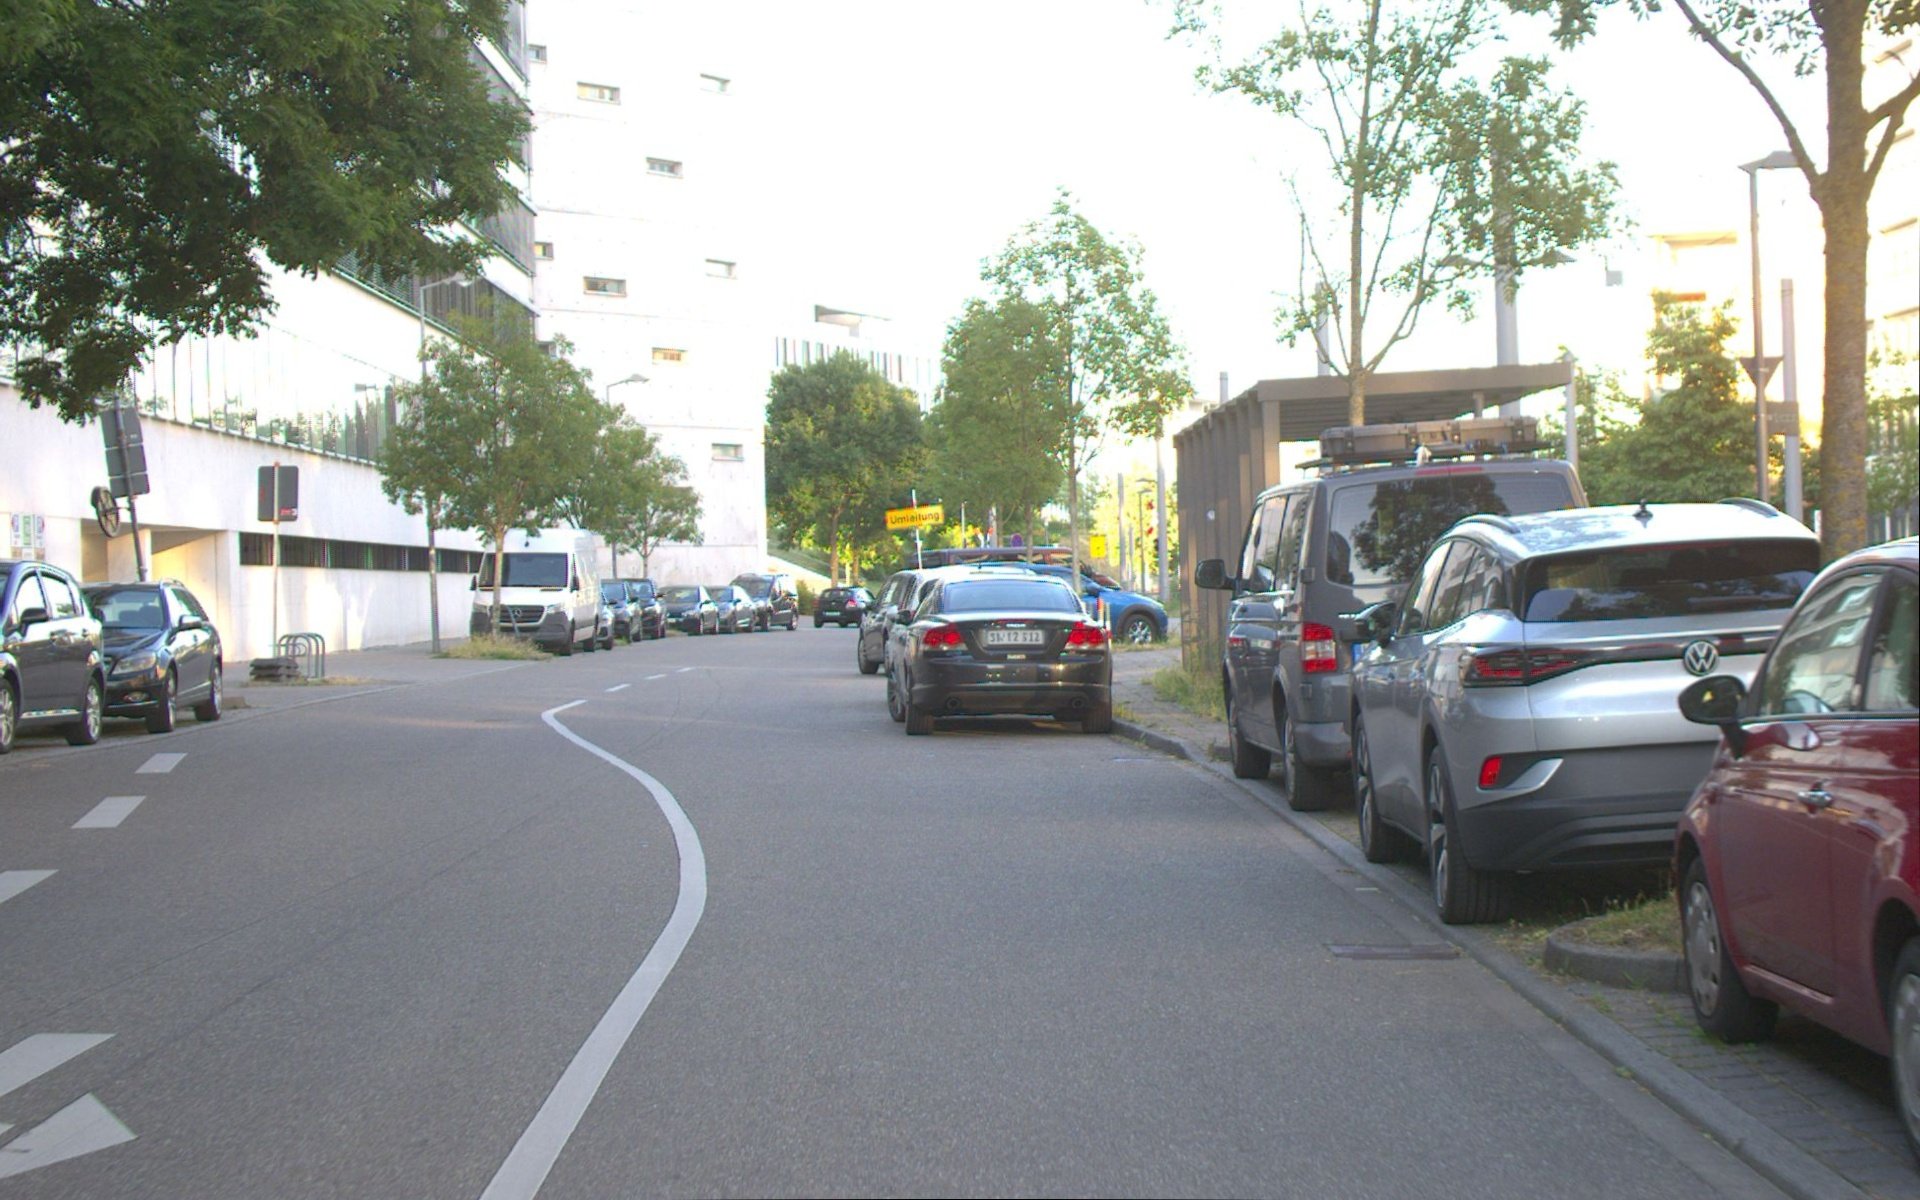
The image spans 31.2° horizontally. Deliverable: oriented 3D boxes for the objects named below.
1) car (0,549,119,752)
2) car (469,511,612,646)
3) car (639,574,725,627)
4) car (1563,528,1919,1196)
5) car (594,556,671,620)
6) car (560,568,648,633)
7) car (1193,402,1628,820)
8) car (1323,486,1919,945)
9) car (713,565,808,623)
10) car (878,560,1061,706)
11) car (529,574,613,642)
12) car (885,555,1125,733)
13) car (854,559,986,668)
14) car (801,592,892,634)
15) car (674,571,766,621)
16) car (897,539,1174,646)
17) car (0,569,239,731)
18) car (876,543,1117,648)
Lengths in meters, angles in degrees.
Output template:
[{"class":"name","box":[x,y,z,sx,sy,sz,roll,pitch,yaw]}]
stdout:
[{"class":"car","box":[-8.341,0.387,28.203,1.844,1.566,4.267,-1,1,0]},{"class":"car","box":[-8.490,-0.465,70.231,1.958,2.608,6.892,1,1,1]},{"class":"car","box":[-8.047,0.005,99.877,1.723,1.452,4.270,1,1,6]},{"class":"car","box":[2.931,0.538,9.293,1.707,1.488,4.131,-3,0,-1]},{"class":"car","box":[-8.714,-0.350,91.698,1.756,1.648,3.949,1,1,-1]},{"class":"car","box":[-8.808,-0.006,85.304,1.756,1.555,4.043,1,1,0]},{"class":"car","box":[2.601,0.041,20.971,1.804,2.169,4.736,-3,0,-1]},{"class":"car","box":[2.664,0.400,14.719,1.707,1.575,4.479,-3,0,1]},{"class":"car","box":[-6.399,-0.211,110.682,1.758,1.792,4.460,1,1,15]},{"class":"car","box":[0.045,0.318,36.876,1.676,1.447,4.188,-1,0,-3]},{"class":"car","box":[-8.631,0.154,76.437,1.755,1.435,3.902,1,1,-5]},{"class":"car","box":[0.332,0.345,30.969,1.787,1.447,4.516,-1,1,-4]},{"class":"car","box":[-0.601,0.194,48.610,1.731,1.461,4.000,1,0,-2]},{"class":"car","box":[-3.970,0.433,121.065,1.945,1.378,4.396,1,1,16]},{"class":"car","box":[-7.328,-0.146,105.467,1.723,1.452,4.692,1,1,10]},{"class":"car","box":[1.210,-0.127,54.686,3.988,1.515,1.927,-2,-1,-36]},{"class":"car","box":[-8.242,0.435,33.754,1.714,1.447,4.400,-1,1,-5]},{"class":"car","box":[0.749,-0.111,68.957,4.589,2.028,1.871,0,1,-34]}]
